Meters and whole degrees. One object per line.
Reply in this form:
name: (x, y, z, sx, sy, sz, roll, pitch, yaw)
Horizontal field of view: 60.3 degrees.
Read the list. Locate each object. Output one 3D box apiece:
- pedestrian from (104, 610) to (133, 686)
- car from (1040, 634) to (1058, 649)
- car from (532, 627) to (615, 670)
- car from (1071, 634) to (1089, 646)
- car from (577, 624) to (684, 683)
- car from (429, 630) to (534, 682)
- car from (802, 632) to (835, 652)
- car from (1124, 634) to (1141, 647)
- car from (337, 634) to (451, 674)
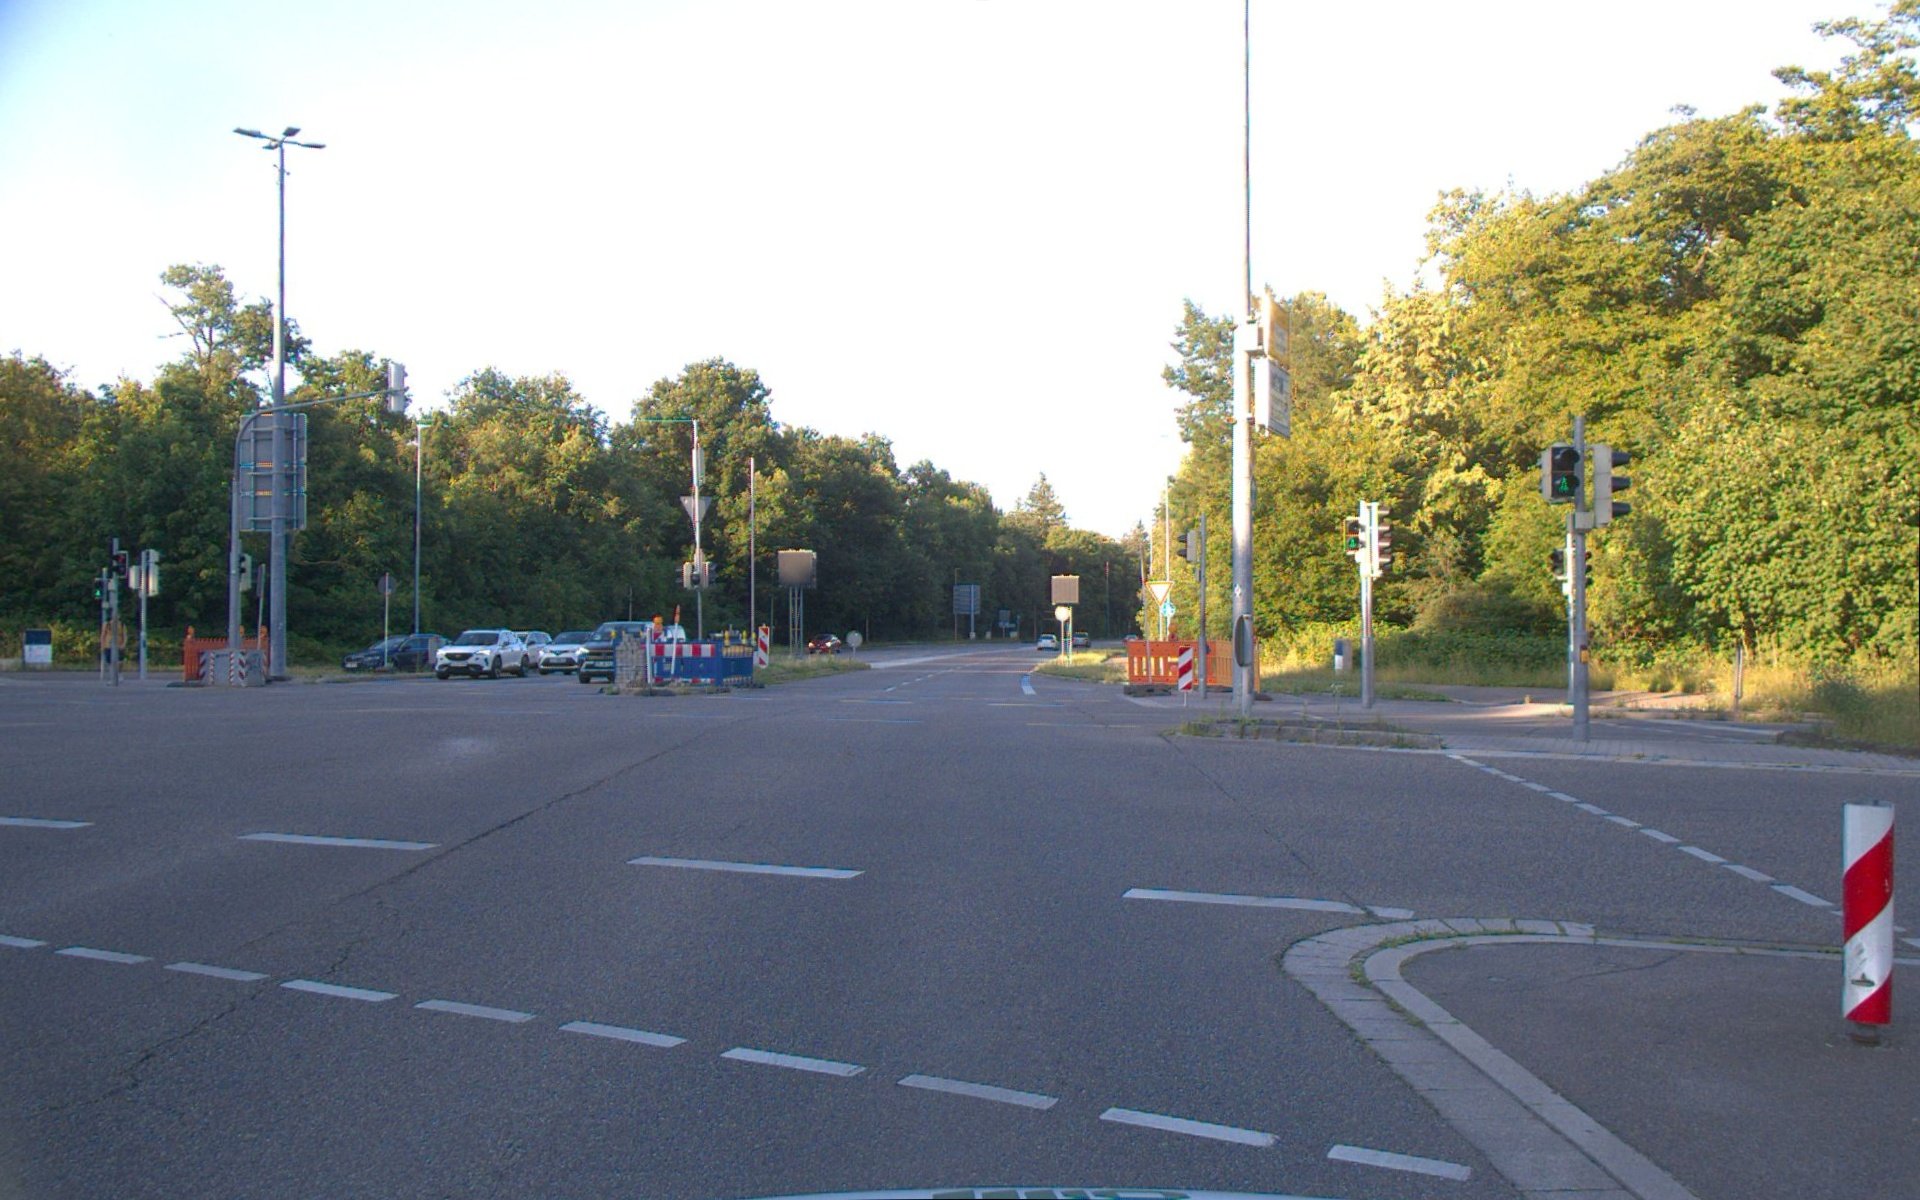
pedestrian: (-20.697, 1.172, 40.683, 0.568, 1.832, 0.742, 0, -1, -32)
car: (8.204, 3.829, 152.103, 1.514, 1.371, 3.116, 0, -1, 7)
car: (-13.755, 1.703, 59.042, 1.680, 1.481, 4.235, 0, -1, 4)
car: (13.106, 4.303, 180.071, 1.425, 1.266, 2.966, 0, -1, 15)
car: (-8.687, 1.391, 43.920, 1.680, 1.481, 4.235, 0, -1, 4)
car: (-14.601, 1.690, 50.688, 1.680, 1.481, 4.235, 0, -1, 4)
car: (-10.566, 3.160, 123.924, 1.838, 1.447, 4.235, 0, -1, 4)
car: (21.426, 5.048, 205.355, 1.544, 1.561, 3.680, 0, -1, 15)
car: (-19.087, 1.801, 55.908, 1.570, 1.266, 3.644, -1, -1, 26)
